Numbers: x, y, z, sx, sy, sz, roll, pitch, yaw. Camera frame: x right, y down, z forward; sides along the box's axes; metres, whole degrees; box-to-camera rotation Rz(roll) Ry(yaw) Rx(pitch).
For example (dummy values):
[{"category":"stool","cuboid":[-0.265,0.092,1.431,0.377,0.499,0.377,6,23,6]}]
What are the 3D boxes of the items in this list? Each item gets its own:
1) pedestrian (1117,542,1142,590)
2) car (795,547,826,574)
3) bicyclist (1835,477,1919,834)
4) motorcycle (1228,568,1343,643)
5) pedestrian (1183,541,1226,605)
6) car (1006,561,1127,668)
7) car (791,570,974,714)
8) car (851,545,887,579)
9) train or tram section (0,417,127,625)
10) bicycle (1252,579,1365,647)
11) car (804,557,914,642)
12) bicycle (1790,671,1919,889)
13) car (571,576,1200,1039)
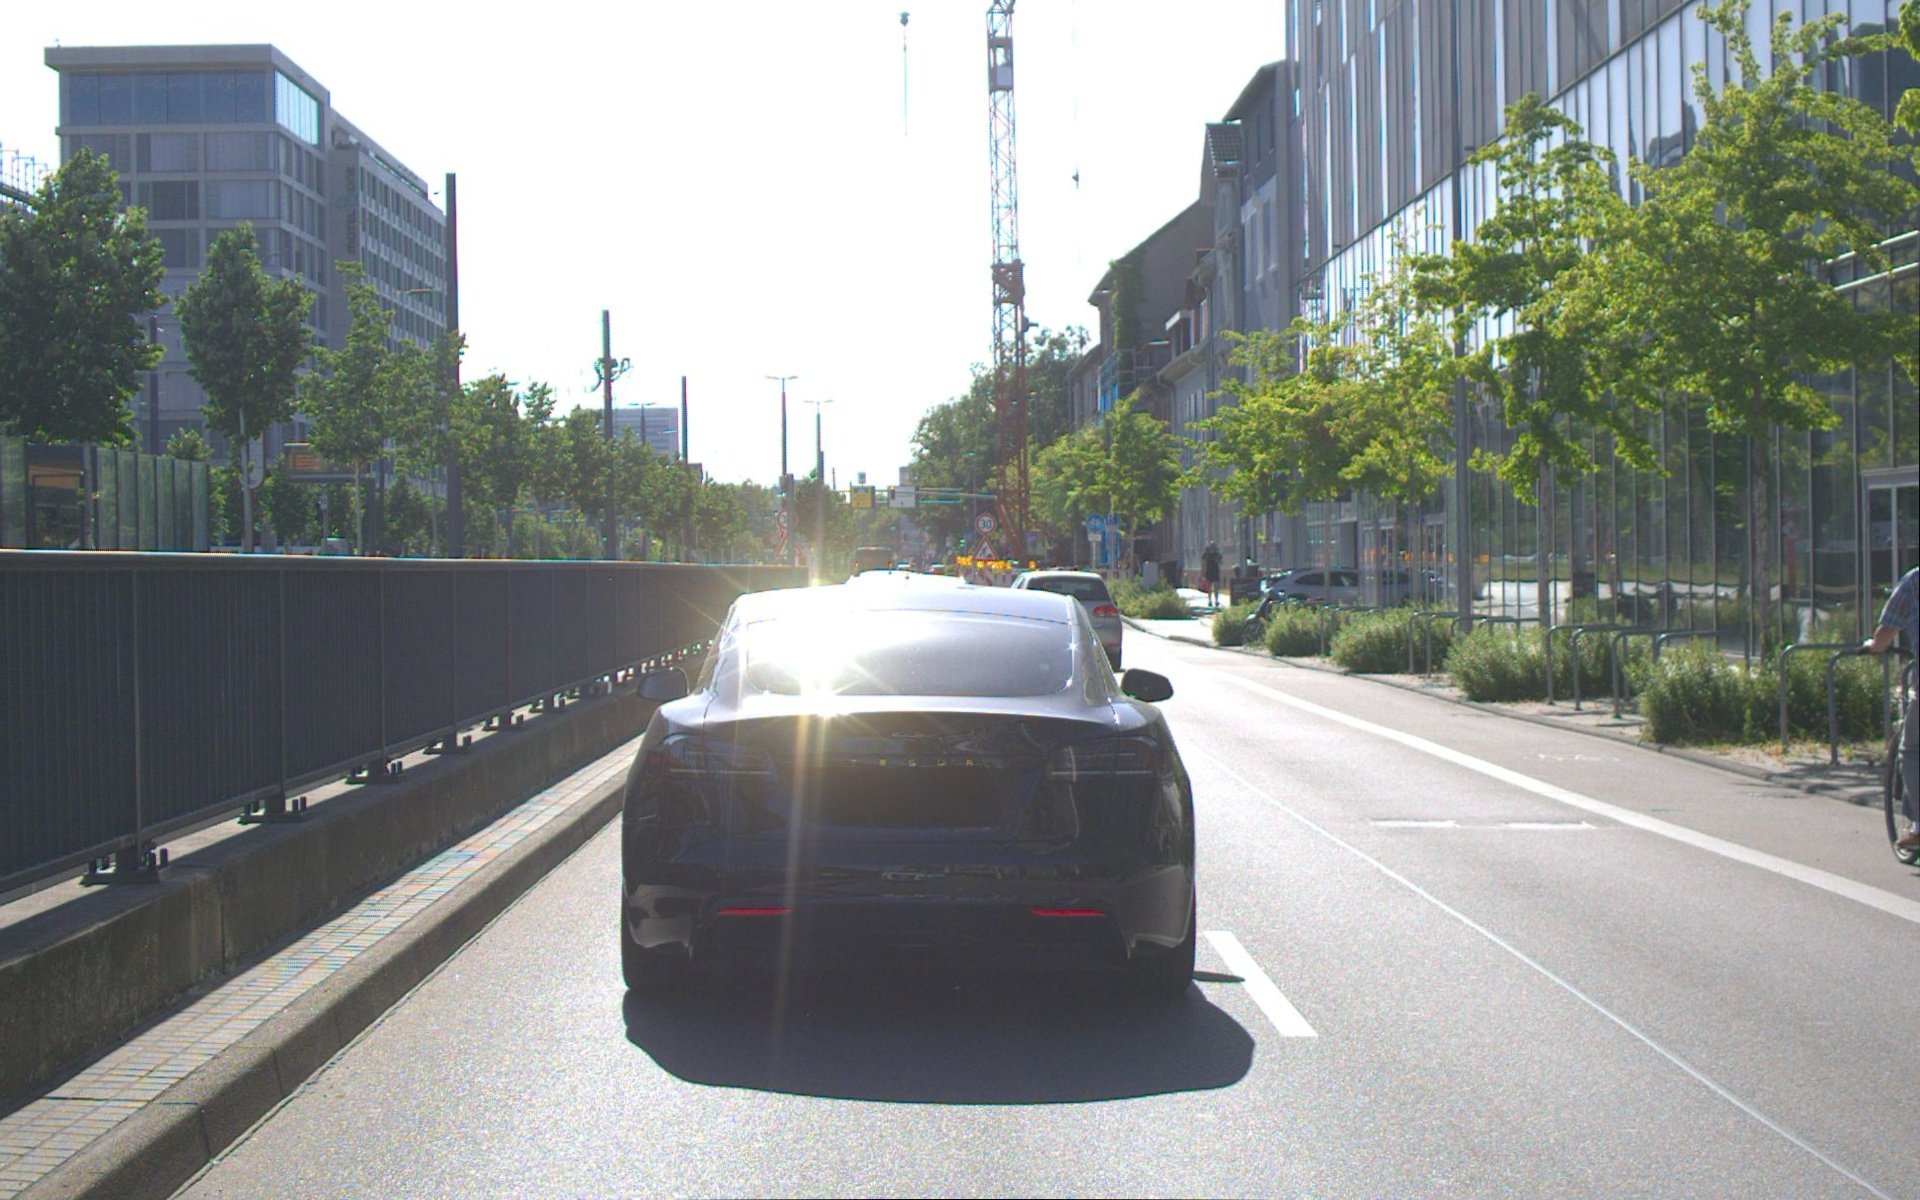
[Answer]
[{"category":"pedestrian","cuboid":[6.539,-1.314,132.511,0.851,1.857,0.930,-1,0,-2]},{"category":"car","cuboid":[-9.856,-2.604,227.205,1.993,1.678,4.000,1,0,-2]},{"category":"bicyclist","cuboid":[4.898,0.260,17.174,0.724,1.731,0.998,-1,0,-4]},{"category":"motorcycle","cuboid":[6.340,0.104,67.056,2.075,1.349,0.652,-3,0,23]},{"category":"pedestrian","cuboid":[7.191,-0.794,101.081,1.095,1.857,1.523,-1,0,-2]},{"category":"car","cuboid":[1.606,0.194,52.935,1.784,1.540,4.039,0,1,1]},{"category":"car","cuboid":[-0.721,0.378,34.346,1.716,1.315,4.000,0,1,0]},{"category":"car","cuboid":[-4.995,-2.090,189.171,1.814,1.803,4.039,0,1,1]},{"category":"train or tram section","cuboid":[-16.462,-1.232,51.386,2.870,3.268,22.144,1,1,-1]},{"category":"bicycle","cuboid":[6.321,0.227,62.416,1.881,1.147,0.672,-2,1,-10]},{"category":"car","cuboid":[-1.974,-0.041,68.144,1.888,1.590,4.000,-1,1,2]},{"category":"bicycle","cuboid":[4.899,0.884,17.289,0.728,0.980,2.333,0,1,-4]},{"category":"car","cuboid":[-0.164,0.643,13.149,1.999,1.429,4.412,0,1,2]}]
